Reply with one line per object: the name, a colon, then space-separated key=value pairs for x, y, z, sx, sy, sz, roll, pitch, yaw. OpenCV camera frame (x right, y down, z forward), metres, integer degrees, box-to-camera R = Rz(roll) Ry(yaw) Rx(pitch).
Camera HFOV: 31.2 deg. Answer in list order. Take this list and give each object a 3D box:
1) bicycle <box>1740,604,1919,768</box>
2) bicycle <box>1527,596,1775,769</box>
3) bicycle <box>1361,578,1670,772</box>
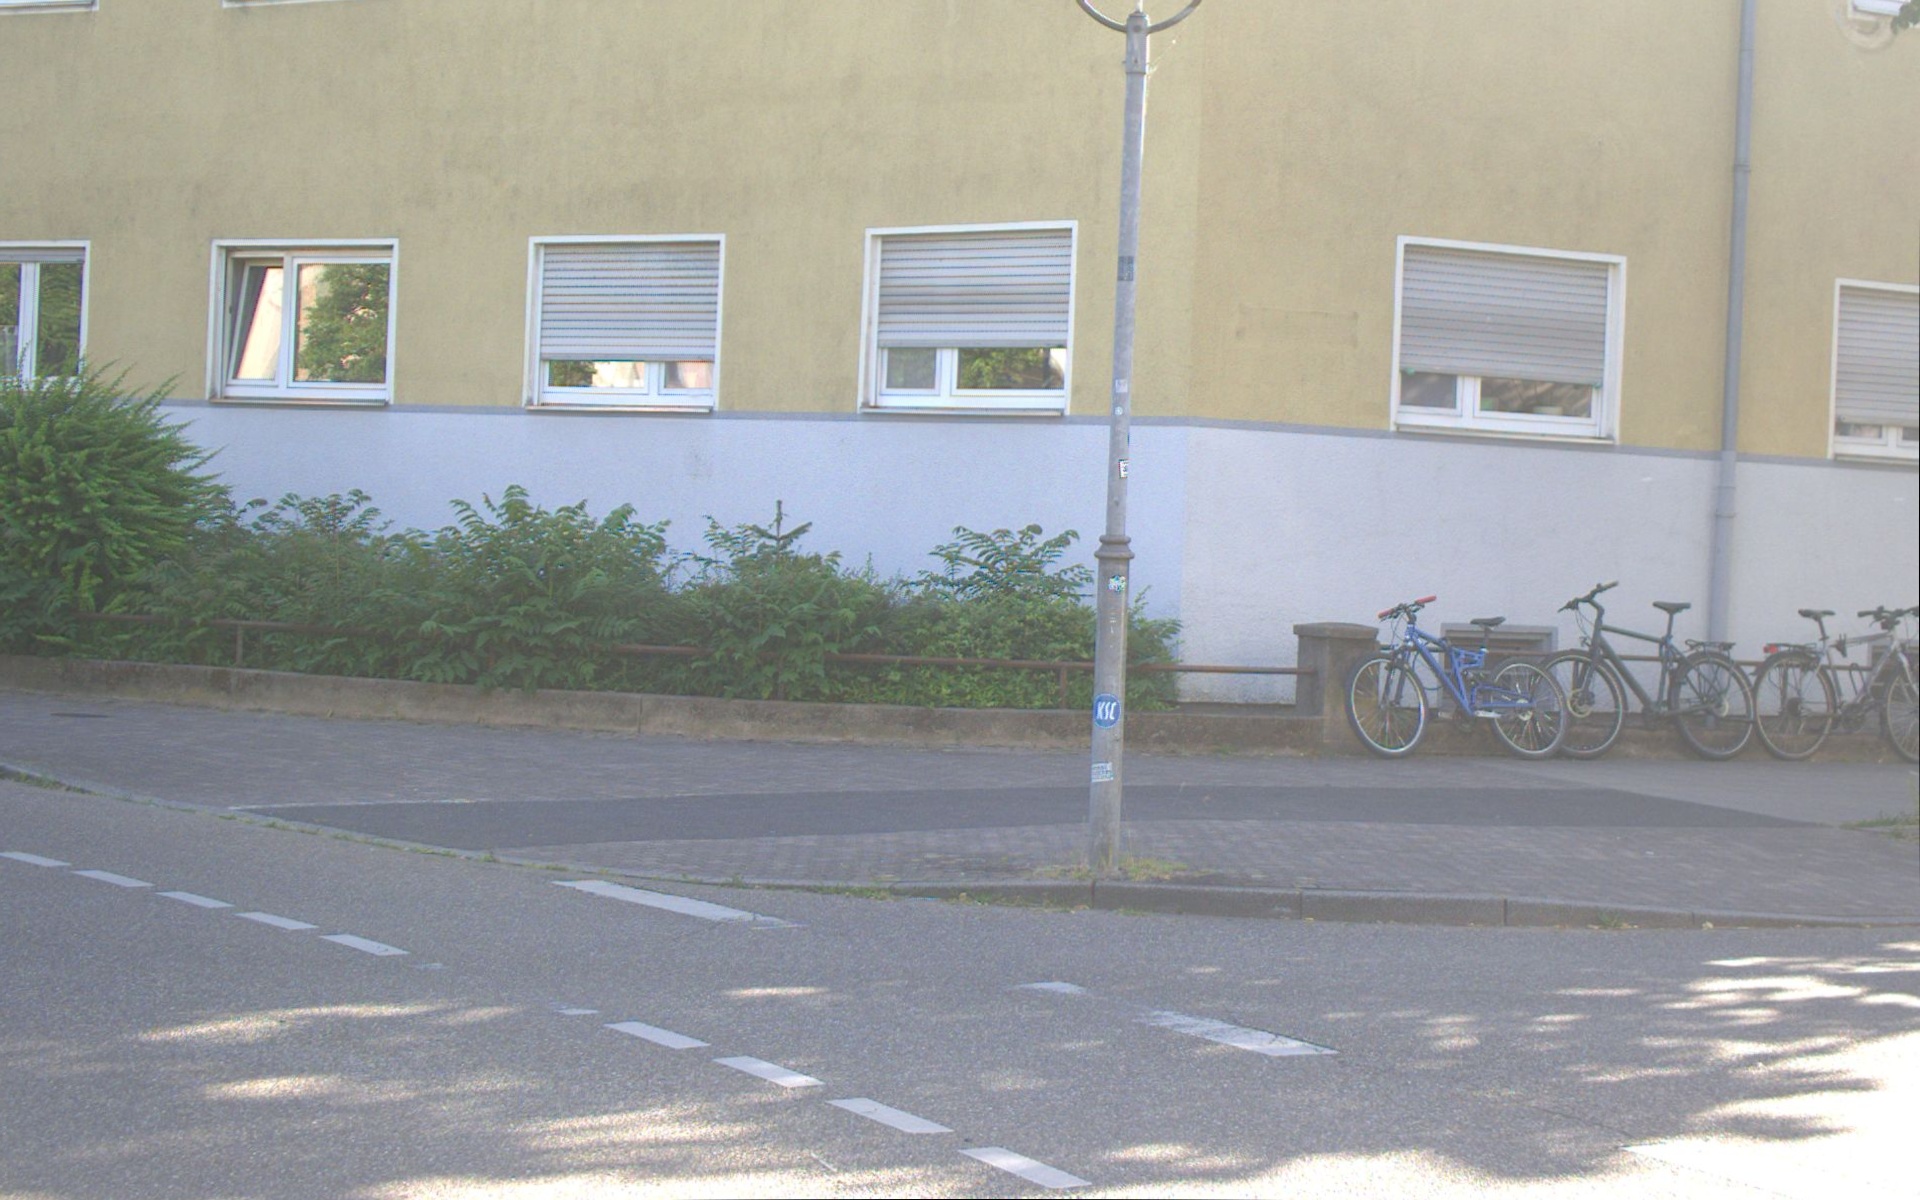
bicycle: x=5.844 y=0.568 z=22.500 sx=1.445 sy=1.023 sz=0.500 roll=2 pitch=1 yaw=-30
bicycle: x=4.384 y=0.516 z=21.869 sx=1.445 sy=1.023 sz=0.500 roll=2 pitch=1 yaw=3
bicycle: x=3.413 y=0.456 z=21.206 sx=1.794 sy=1.104 sz=0.500 roll=2 pitch=1 yaw=3
